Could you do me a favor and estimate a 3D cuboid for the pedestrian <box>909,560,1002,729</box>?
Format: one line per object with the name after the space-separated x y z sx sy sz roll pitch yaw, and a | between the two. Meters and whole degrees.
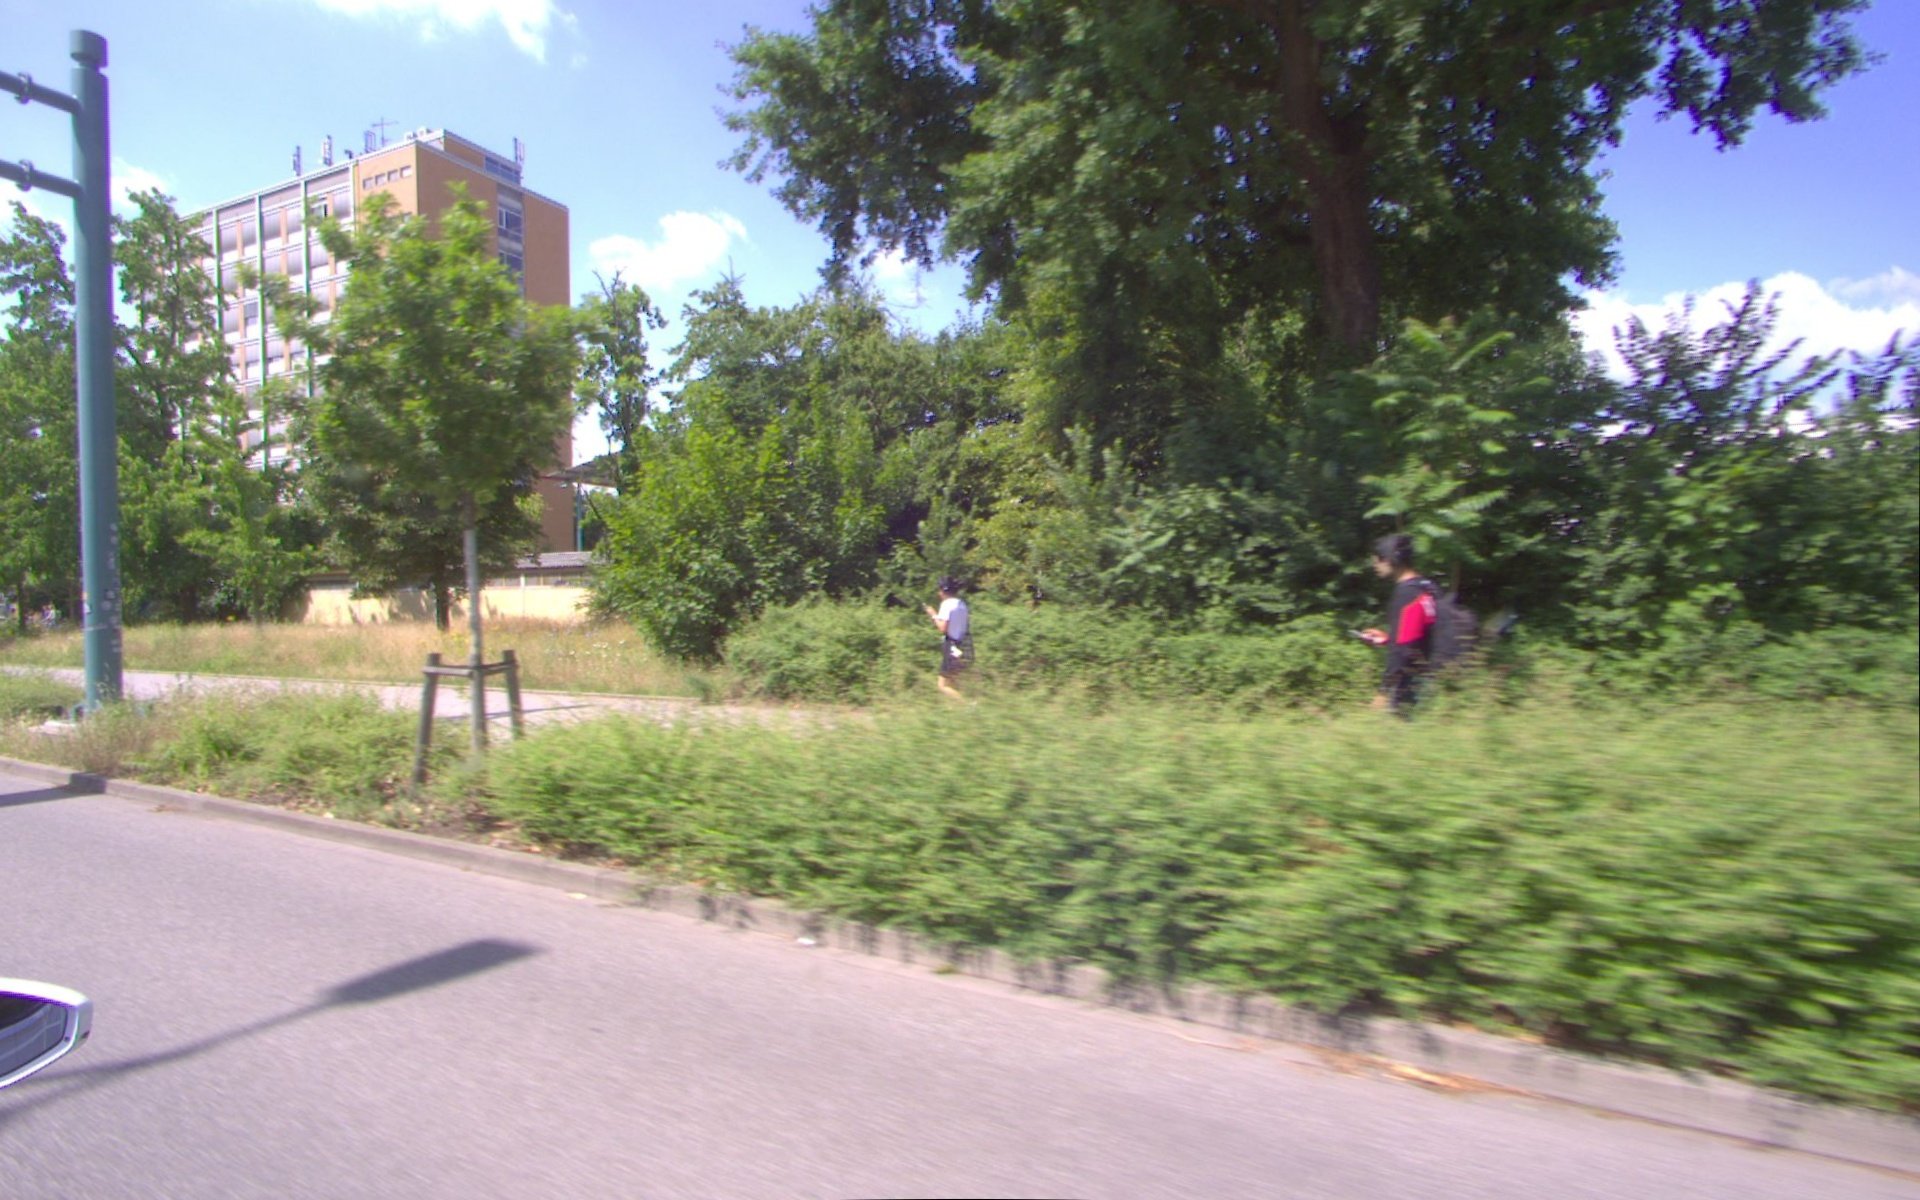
-0.044 0.463 10.831 0.736 1.744 0.721 0 0 32 | pedestrian

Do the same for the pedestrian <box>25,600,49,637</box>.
-51.822 1.040 56.203 0.836 2.085 0.736 0 1 -31 | pedestrian

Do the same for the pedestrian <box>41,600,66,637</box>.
-52.205 1.060 57.682 0.832 2.085 0.740 0 1 14 | pedestrian

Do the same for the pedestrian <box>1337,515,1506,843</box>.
2.703 0.428 5.847 0.825 1.744 0.715 0 0 32 | pedestrian
